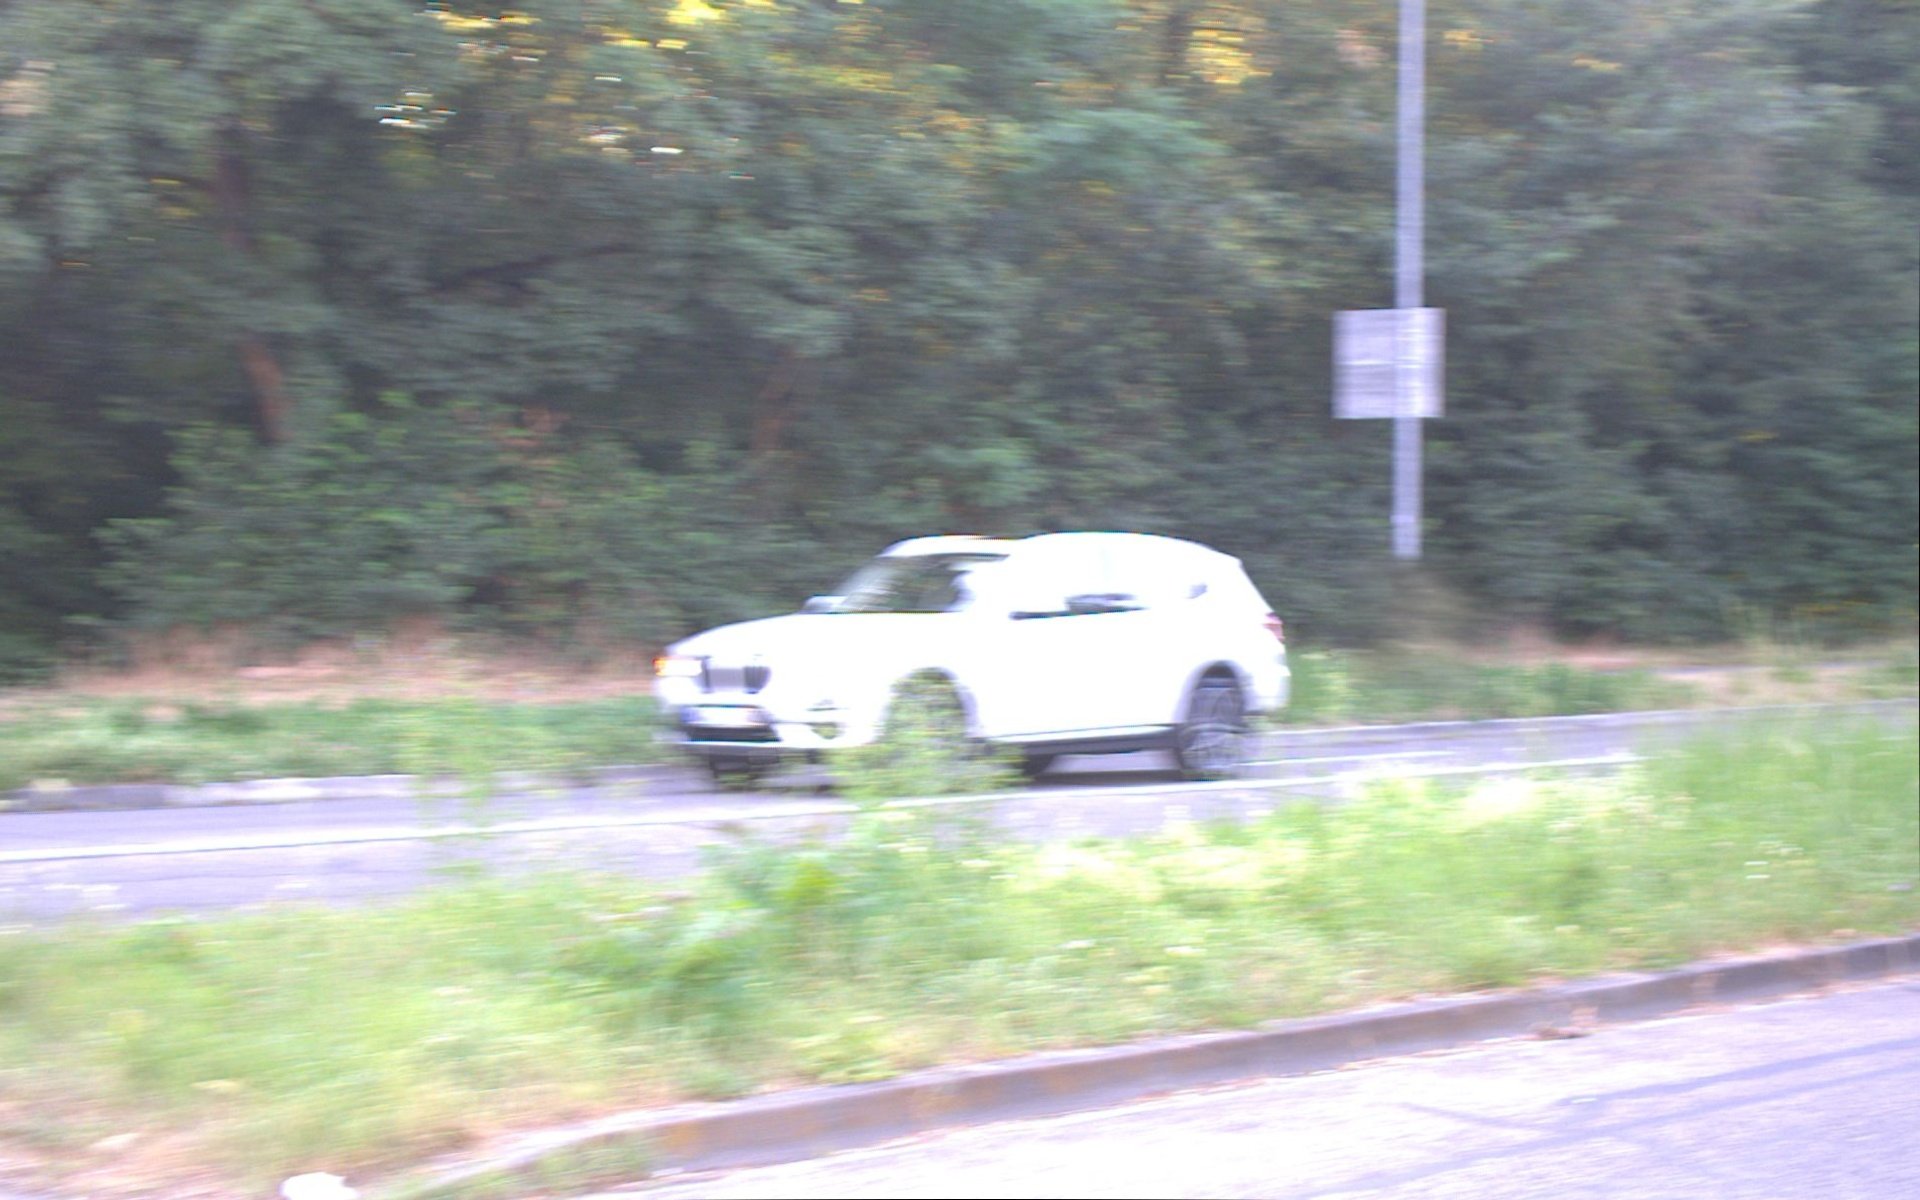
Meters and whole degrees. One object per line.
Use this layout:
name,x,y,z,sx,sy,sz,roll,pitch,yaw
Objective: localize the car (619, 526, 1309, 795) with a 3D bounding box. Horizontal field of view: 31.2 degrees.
car,0.126,0.376,22.799,4.628,1.608,1.826,0,-1,-45
